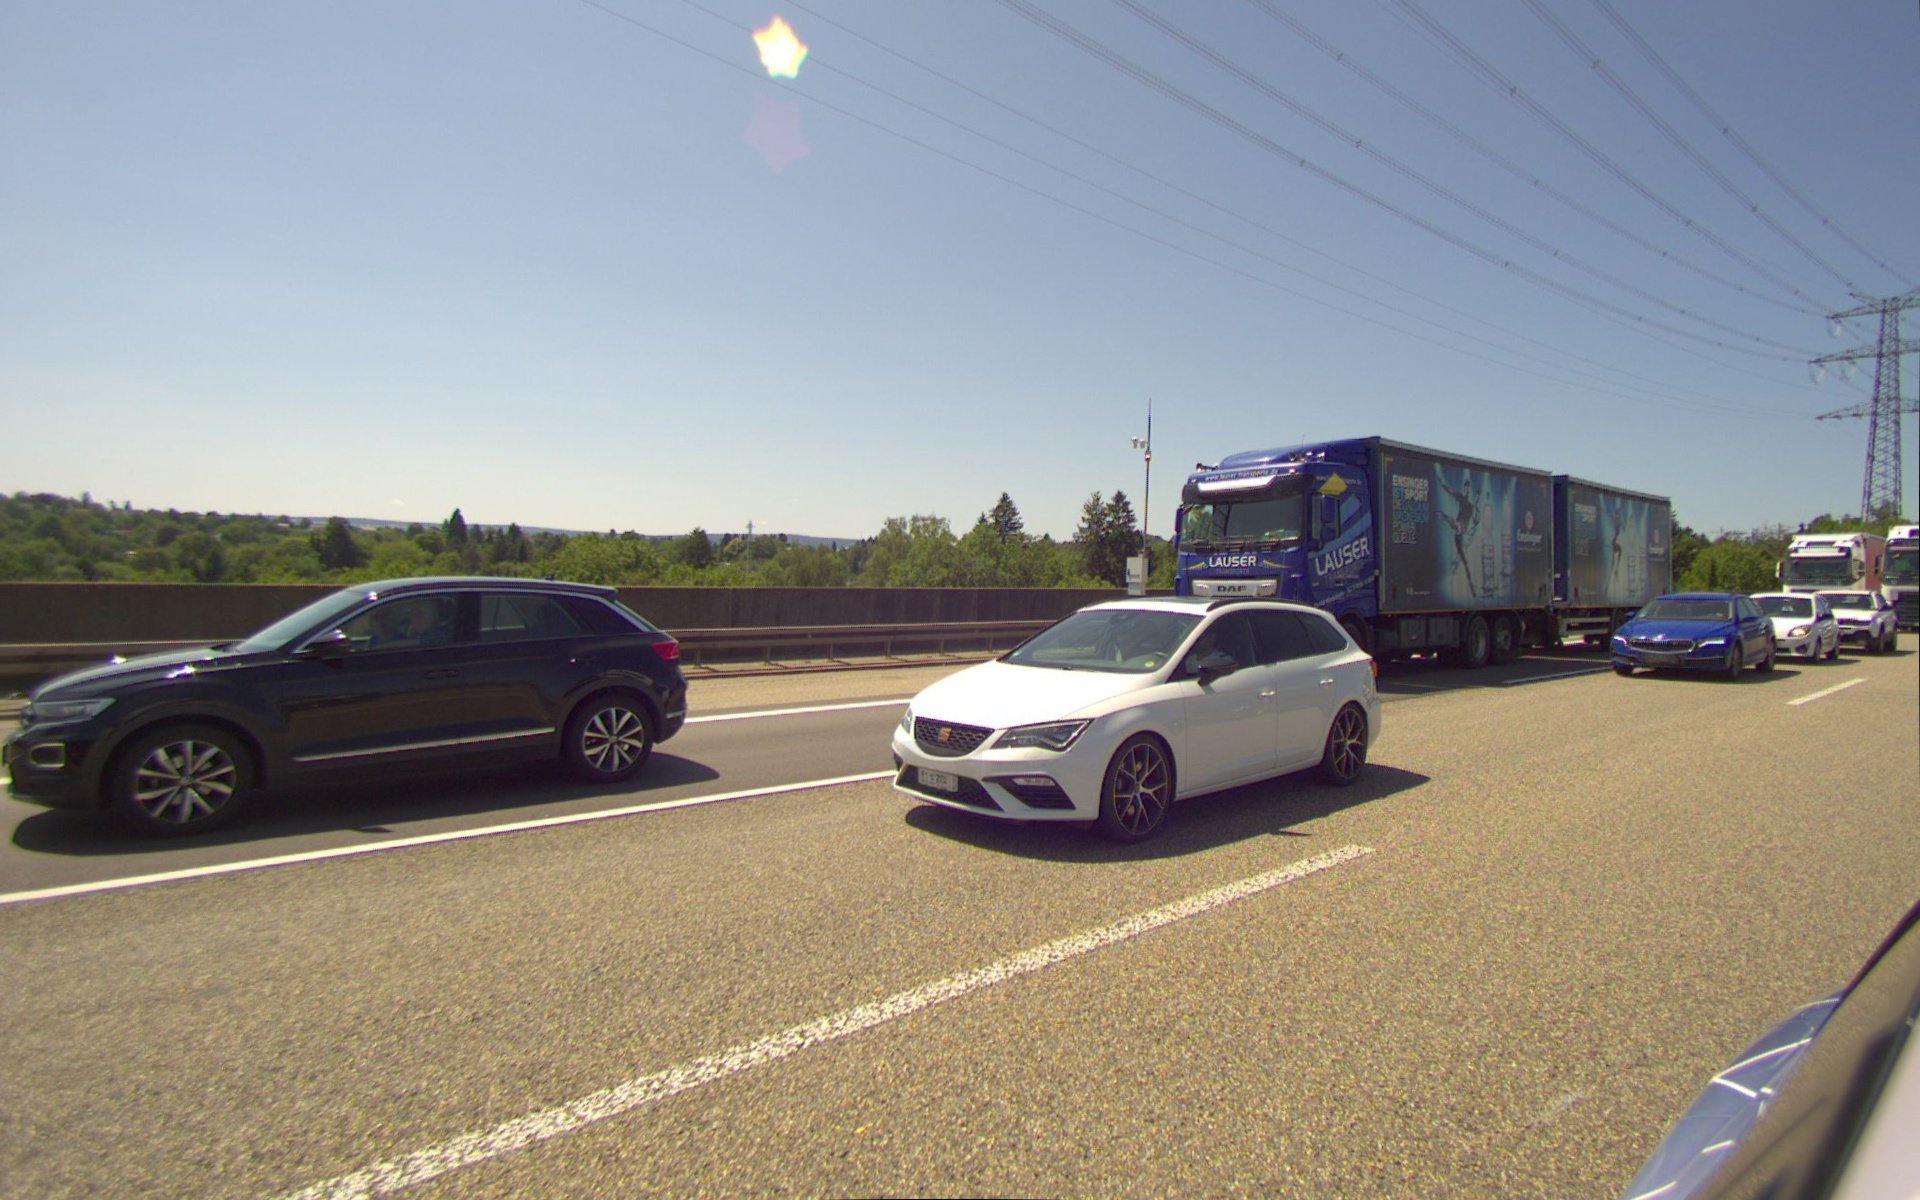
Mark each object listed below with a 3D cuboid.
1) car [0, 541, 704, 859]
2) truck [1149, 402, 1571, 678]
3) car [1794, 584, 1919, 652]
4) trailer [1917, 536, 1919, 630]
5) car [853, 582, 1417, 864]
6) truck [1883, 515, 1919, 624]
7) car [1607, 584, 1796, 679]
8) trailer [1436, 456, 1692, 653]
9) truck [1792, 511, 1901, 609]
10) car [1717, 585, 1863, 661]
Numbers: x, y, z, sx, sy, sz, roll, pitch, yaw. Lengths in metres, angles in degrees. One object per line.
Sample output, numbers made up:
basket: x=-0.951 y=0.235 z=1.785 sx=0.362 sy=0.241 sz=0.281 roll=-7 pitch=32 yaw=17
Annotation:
car: x=-4.103 y=0.494 z=7.290 sx=4.046 sy=1.675 sz=1.711 roll=-1 pitch=1 yaw=-41
truck: x=7.981 y=-0.951 z=19.044 sx=10.210 sy=3.999 sz=2.857 roll=-1 pitch=1 yaw=-40
car: x=22.093 y=0.379 z=24.899 sx=4.071 sy=1.528 sz=1.712 roll=-1 pitch=1 yaw=-40
trailer: x=43.758 y=-0.767 z=43.614 sx=8.927 sy=3.900 sz=2.820 roll=-1 pitch=1 yaw=-41
car: x=1.494 y=0.635 z=7.368 sx=4.352 sy=1.470 sz=1.711 roll=0 pitch=0 yaw=-41
truck: x=37.288 y=-1.141 z=38.094 sx=8.121 sy=3.874 sz=2.847 roll=-1 pitch=1 yaw=-41
car: x=13.330 y=0.476 z=18.095 sx=4.483 sy=1.470 sz=1.712 roll=-1 pitch=1 yaw=-40
trailer: x=15.197 y=-1.020 z=25.112 sx=8.485 sy=4.140 sz=2.833 roll=-1 pitch=1 yaw=-40
truck: x=39.755 y=-1.730 z=45.277 sx=8.121 sy=4.037 sz=2.606 roll=-1 pitch=1 yaw=-41
car: x=17.940 y=0.430 z=21.809 sx=4.071 sy=1.470 sz=1.712 roll=-1 pitch=1 yaw=-40
